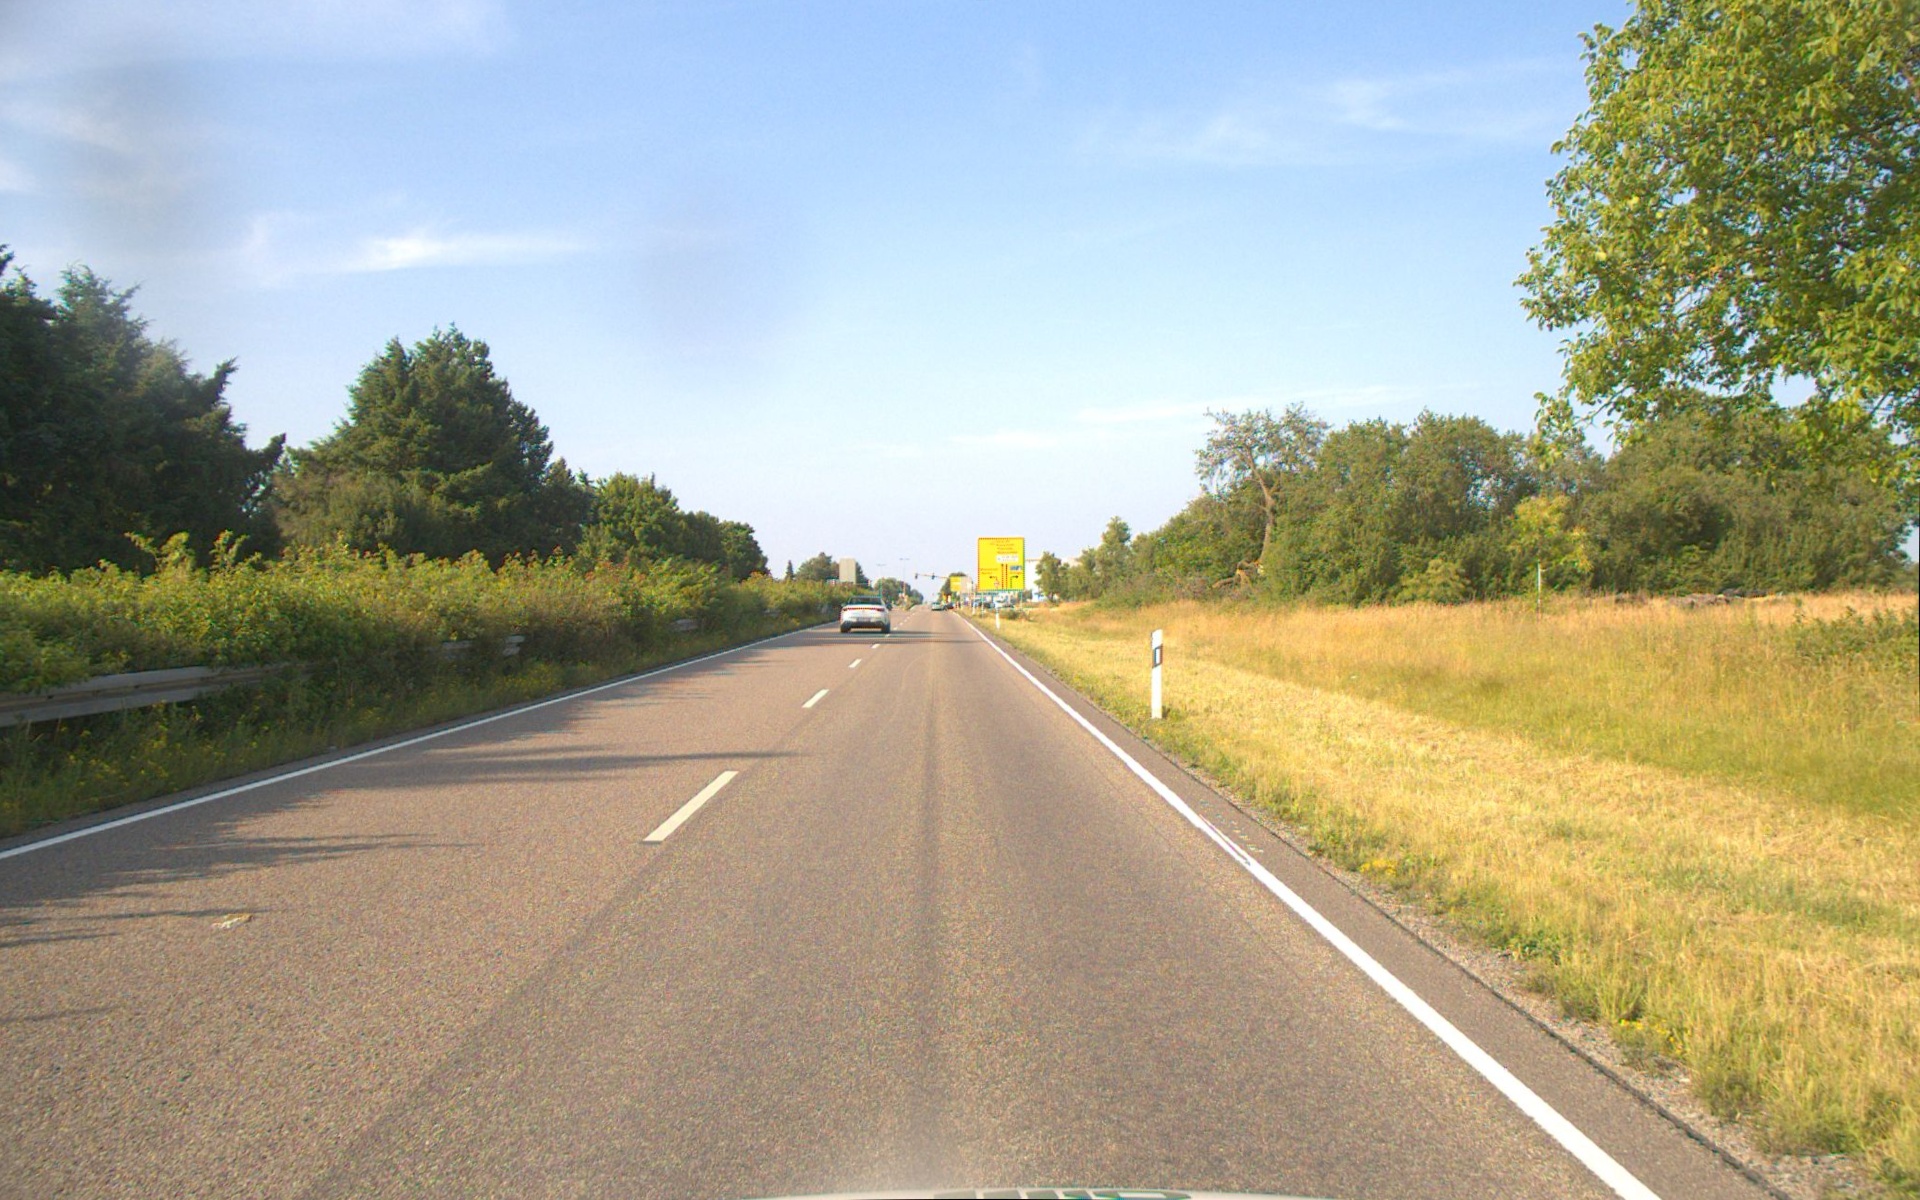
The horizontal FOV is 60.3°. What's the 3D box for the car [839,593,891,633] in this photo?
[{"bbox_3d":[-3.625,0.489,63.825,1.871,1.447,3.999,1,0,-2],"label":"car"}]
